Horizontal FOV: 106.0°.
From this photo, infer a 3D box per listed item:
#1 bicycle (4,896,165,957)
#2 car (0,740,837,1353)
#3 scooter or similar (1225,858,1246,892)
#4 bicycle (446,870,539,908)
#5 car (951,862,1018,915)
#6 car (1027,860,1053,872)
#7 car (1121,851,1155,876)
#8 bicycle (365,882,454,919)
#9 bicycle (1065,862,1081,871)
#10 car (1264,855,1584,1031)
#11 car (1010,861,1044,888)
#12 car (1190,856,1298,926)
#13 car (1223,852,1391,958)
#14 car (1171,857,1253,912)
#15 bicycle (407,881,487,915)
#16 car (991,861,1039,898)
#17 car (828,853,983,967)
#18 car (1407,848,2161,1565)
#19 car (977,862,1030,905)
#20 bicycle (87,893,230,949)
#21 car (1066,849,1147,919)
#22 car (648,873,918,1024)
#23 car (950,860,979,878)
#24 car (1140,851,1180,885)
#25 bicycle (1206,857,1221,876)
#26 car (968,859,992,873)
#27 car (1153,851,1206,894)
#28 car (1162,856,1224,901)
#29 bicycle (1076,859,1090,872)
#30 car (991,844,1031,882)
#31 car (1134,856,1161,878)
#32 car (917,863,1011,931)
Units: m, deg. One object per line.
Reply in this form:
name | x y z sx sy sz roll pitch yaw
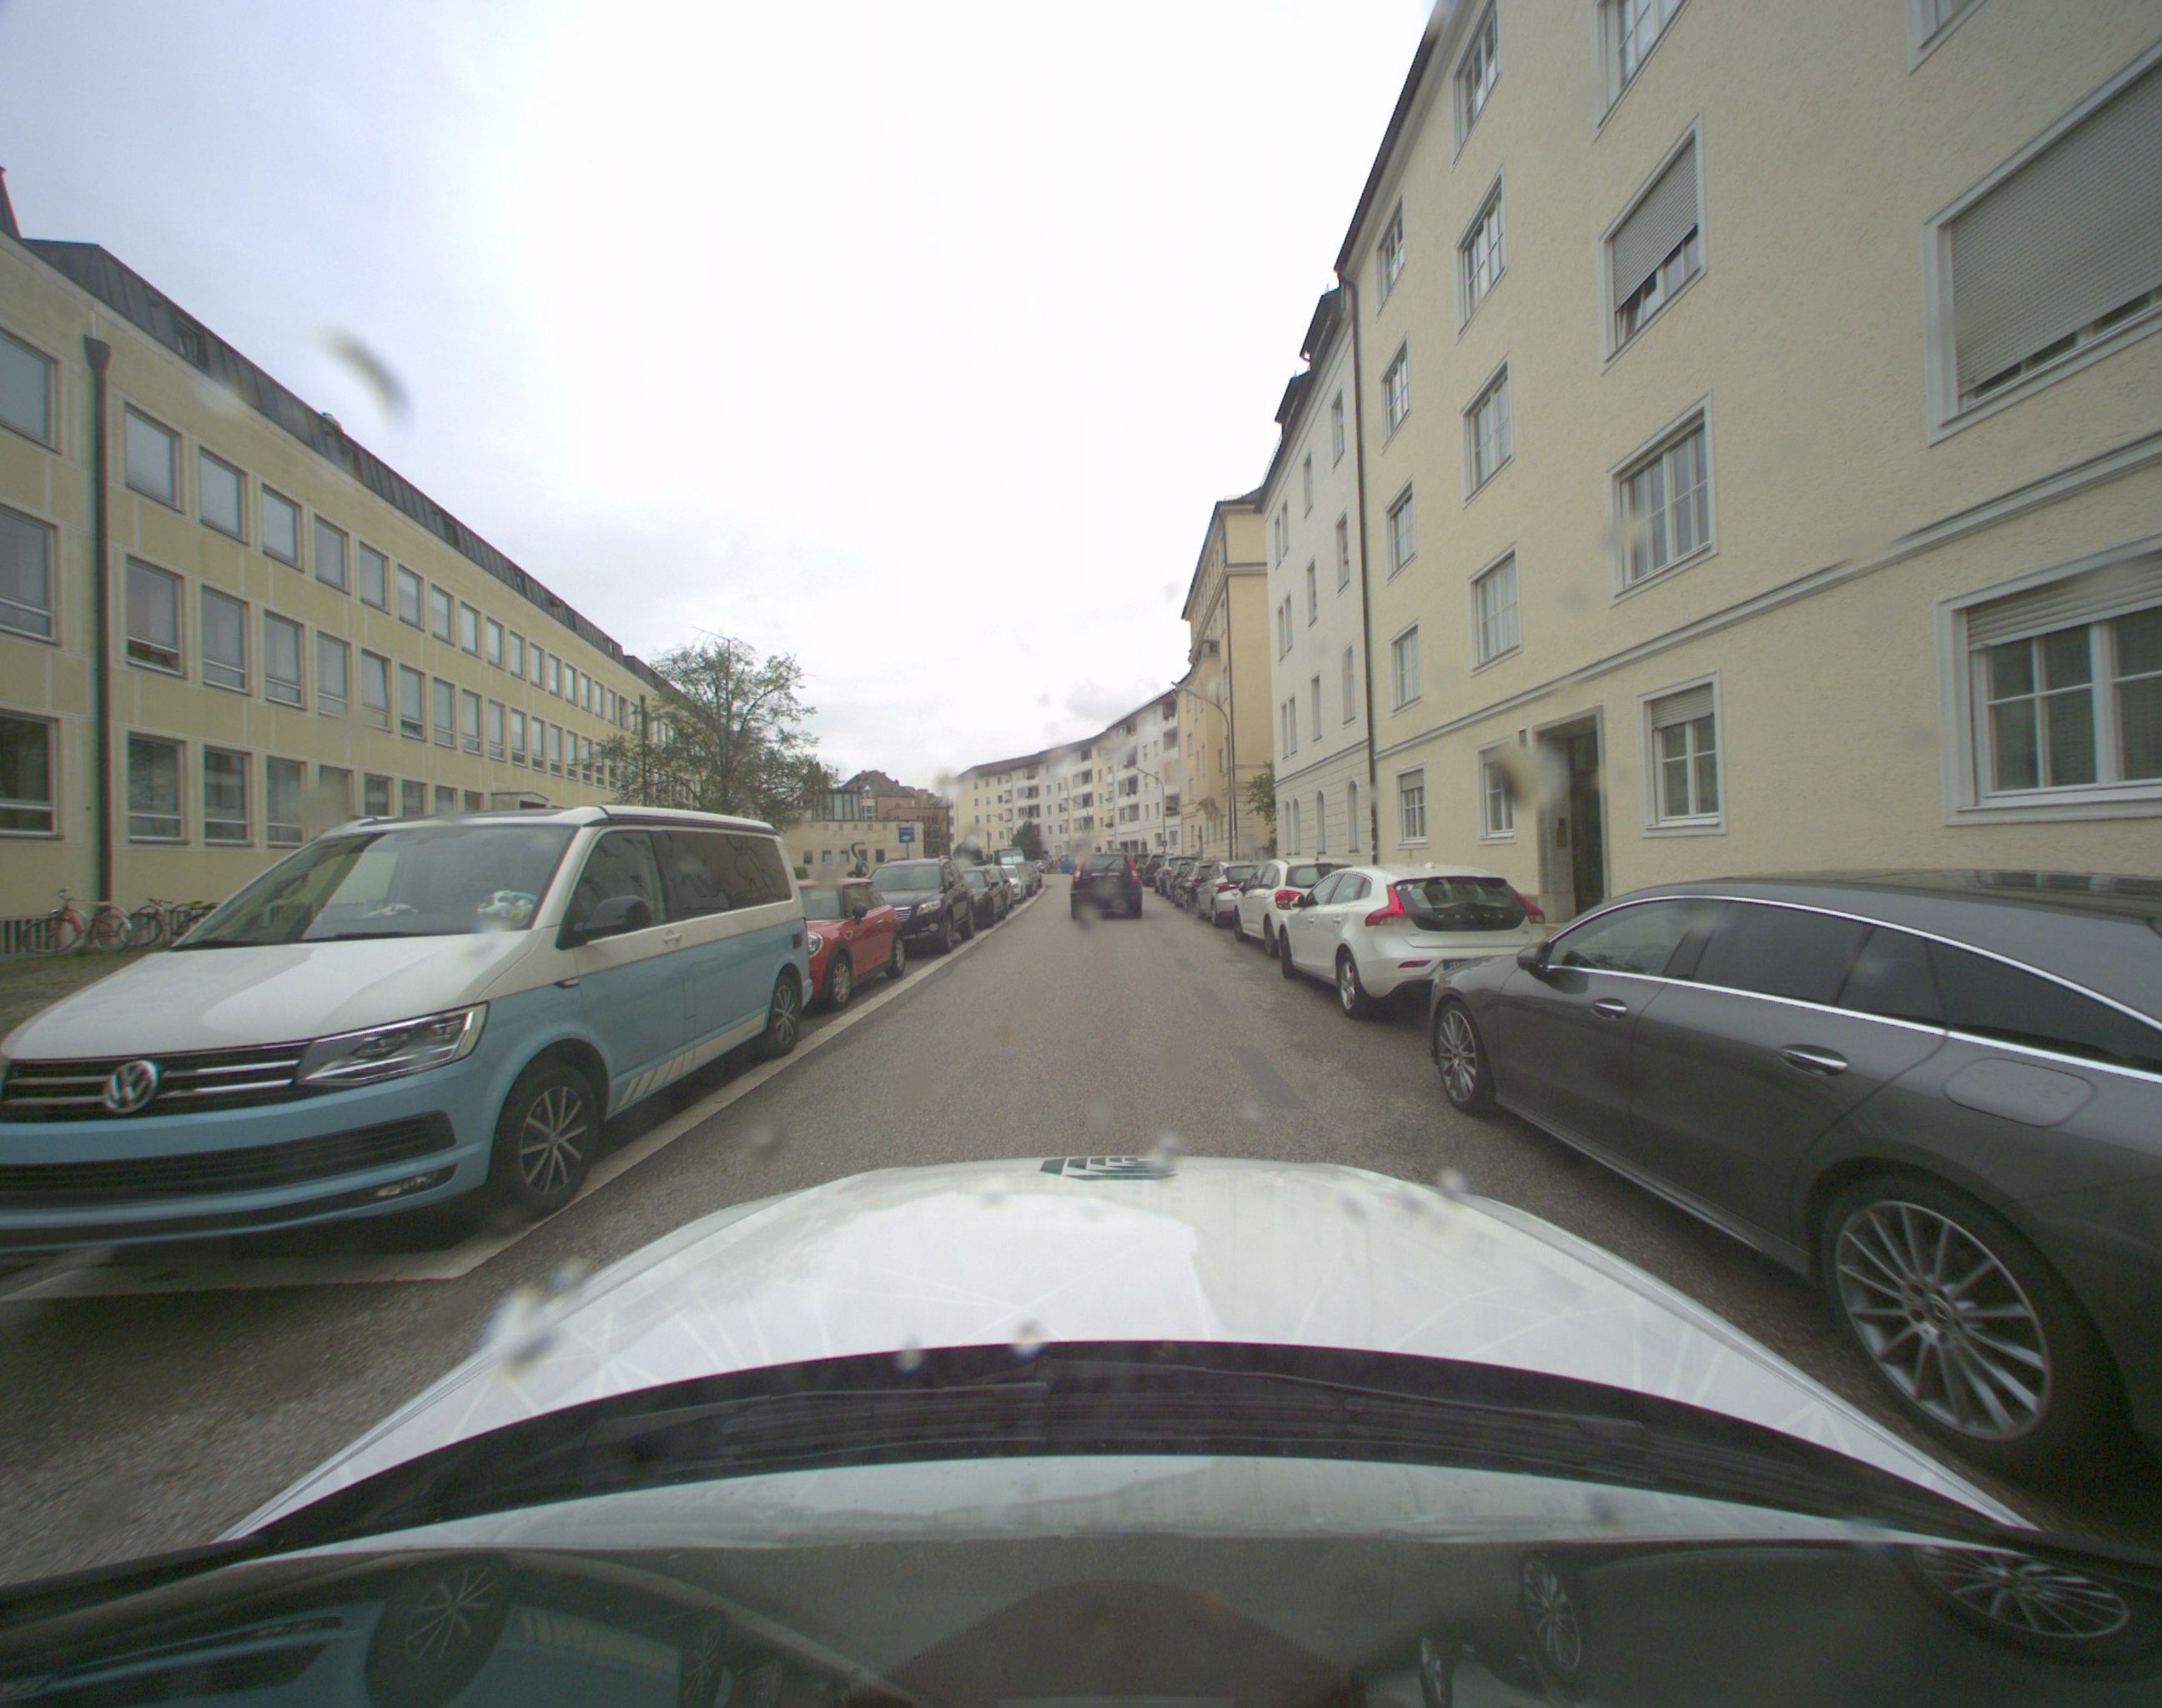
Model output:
bicycle | -18.501 1.331 15.156 1.946 1.014 0.623 -1 0 -9
car | -3.305 0.673 5.233 1.923 1.979 5.020 -3 -1 -1
scooter or similar | 5.352 0.720 28.236 0.483 1.164 1.172 -1 -1 -1
bicycle | -20.970 1.227 29.073 2.439 1.248 1.051 -1 0 -16
car | -2.988 1.038 25.890 1.652 1.453 3.972 -3 0 -1
car | -4.966 1.434 97.964 1.733 1.483 3.965 -1 0 -26
car | 4.245 0.730 61.294 1.776 1.807 4.266 0 -1 -7
bicycle | -19.916 1.366 24.192 1.950 1.014 0.622 -1 0 -16
bicycle | -1.045 1.573 100.804 1.872 1.091 0.561 -1 -1 -21
car | 3.334 0.753 8.947 1.673 1.410 4.443 -2 -1 1
car | -3.053 1.134 46.496 1.795 1.406 4.450 -3 0 -3
car | 3.695 0.796 19.160 1.673 1.427 4.166 -2 -1 0
car | 3.633 0.752 13.859 1.673 1.481 4.166 -2 -1 0
car | 3.712 0.831 23.743 1.673 1.427 4.390 -2 -1 0
bicycle | -20.582 1.411 26.477 1.950 1.014 0.622 -1 0 -16
car | -2.892 1.105 36.602 1.749 1.453 4.395 -3 0 0
car | -3.080 0.909 15.271 1.738 1.666 4.449 -5 0 1
car | 3.008 0.710 3.259 1.673 1.410 4.422 -2 -1 1
car | -2.919 1.086 31.432 1.652 1.453 4.070 -3 0 -1
bicycle | -18.731 1.354 16.570 1.946 1.014 0.623 -1 0 -9
car | 0.579 0.748 21.744 1.886 1.647 3.988 -1 -1 -2
car | -3.333 0.976 9.977 1.737 1.387 3.919 -1 0 2
car | -12.159 1.570 84.893 1.687 1.707 4.475 -1 -1 -25
car | 4.219 0.731 44.040 1.862 1.717 4.867 0 -1 2
bicycle | 7.927 0.724 48.835 0.577 1.083 1.954 -4 0 2
car | -14.257 1.736 114.876 1.736 1.878 3.959 -1 -1 -32
car | 4.041 0.743 34.042 1.716 1.634 4.458 -2 -1 1
car | 3.921 0.830 29.084 1.673 1.427 4.087 -2 -1 1
bicycle | 0.248 1.324 93.083 0.970 1.388 2.551 -1 -1 -14
car | -5.445 0.682 62.633 2.166 2.641 5.991 -3 0 -12
car | 4.545 0.906 56.035 1.701 1.447 3.832 0 -1 3
car | -2.860 1.006 20.633 1.674 1.453 3.870 -3 0 1
